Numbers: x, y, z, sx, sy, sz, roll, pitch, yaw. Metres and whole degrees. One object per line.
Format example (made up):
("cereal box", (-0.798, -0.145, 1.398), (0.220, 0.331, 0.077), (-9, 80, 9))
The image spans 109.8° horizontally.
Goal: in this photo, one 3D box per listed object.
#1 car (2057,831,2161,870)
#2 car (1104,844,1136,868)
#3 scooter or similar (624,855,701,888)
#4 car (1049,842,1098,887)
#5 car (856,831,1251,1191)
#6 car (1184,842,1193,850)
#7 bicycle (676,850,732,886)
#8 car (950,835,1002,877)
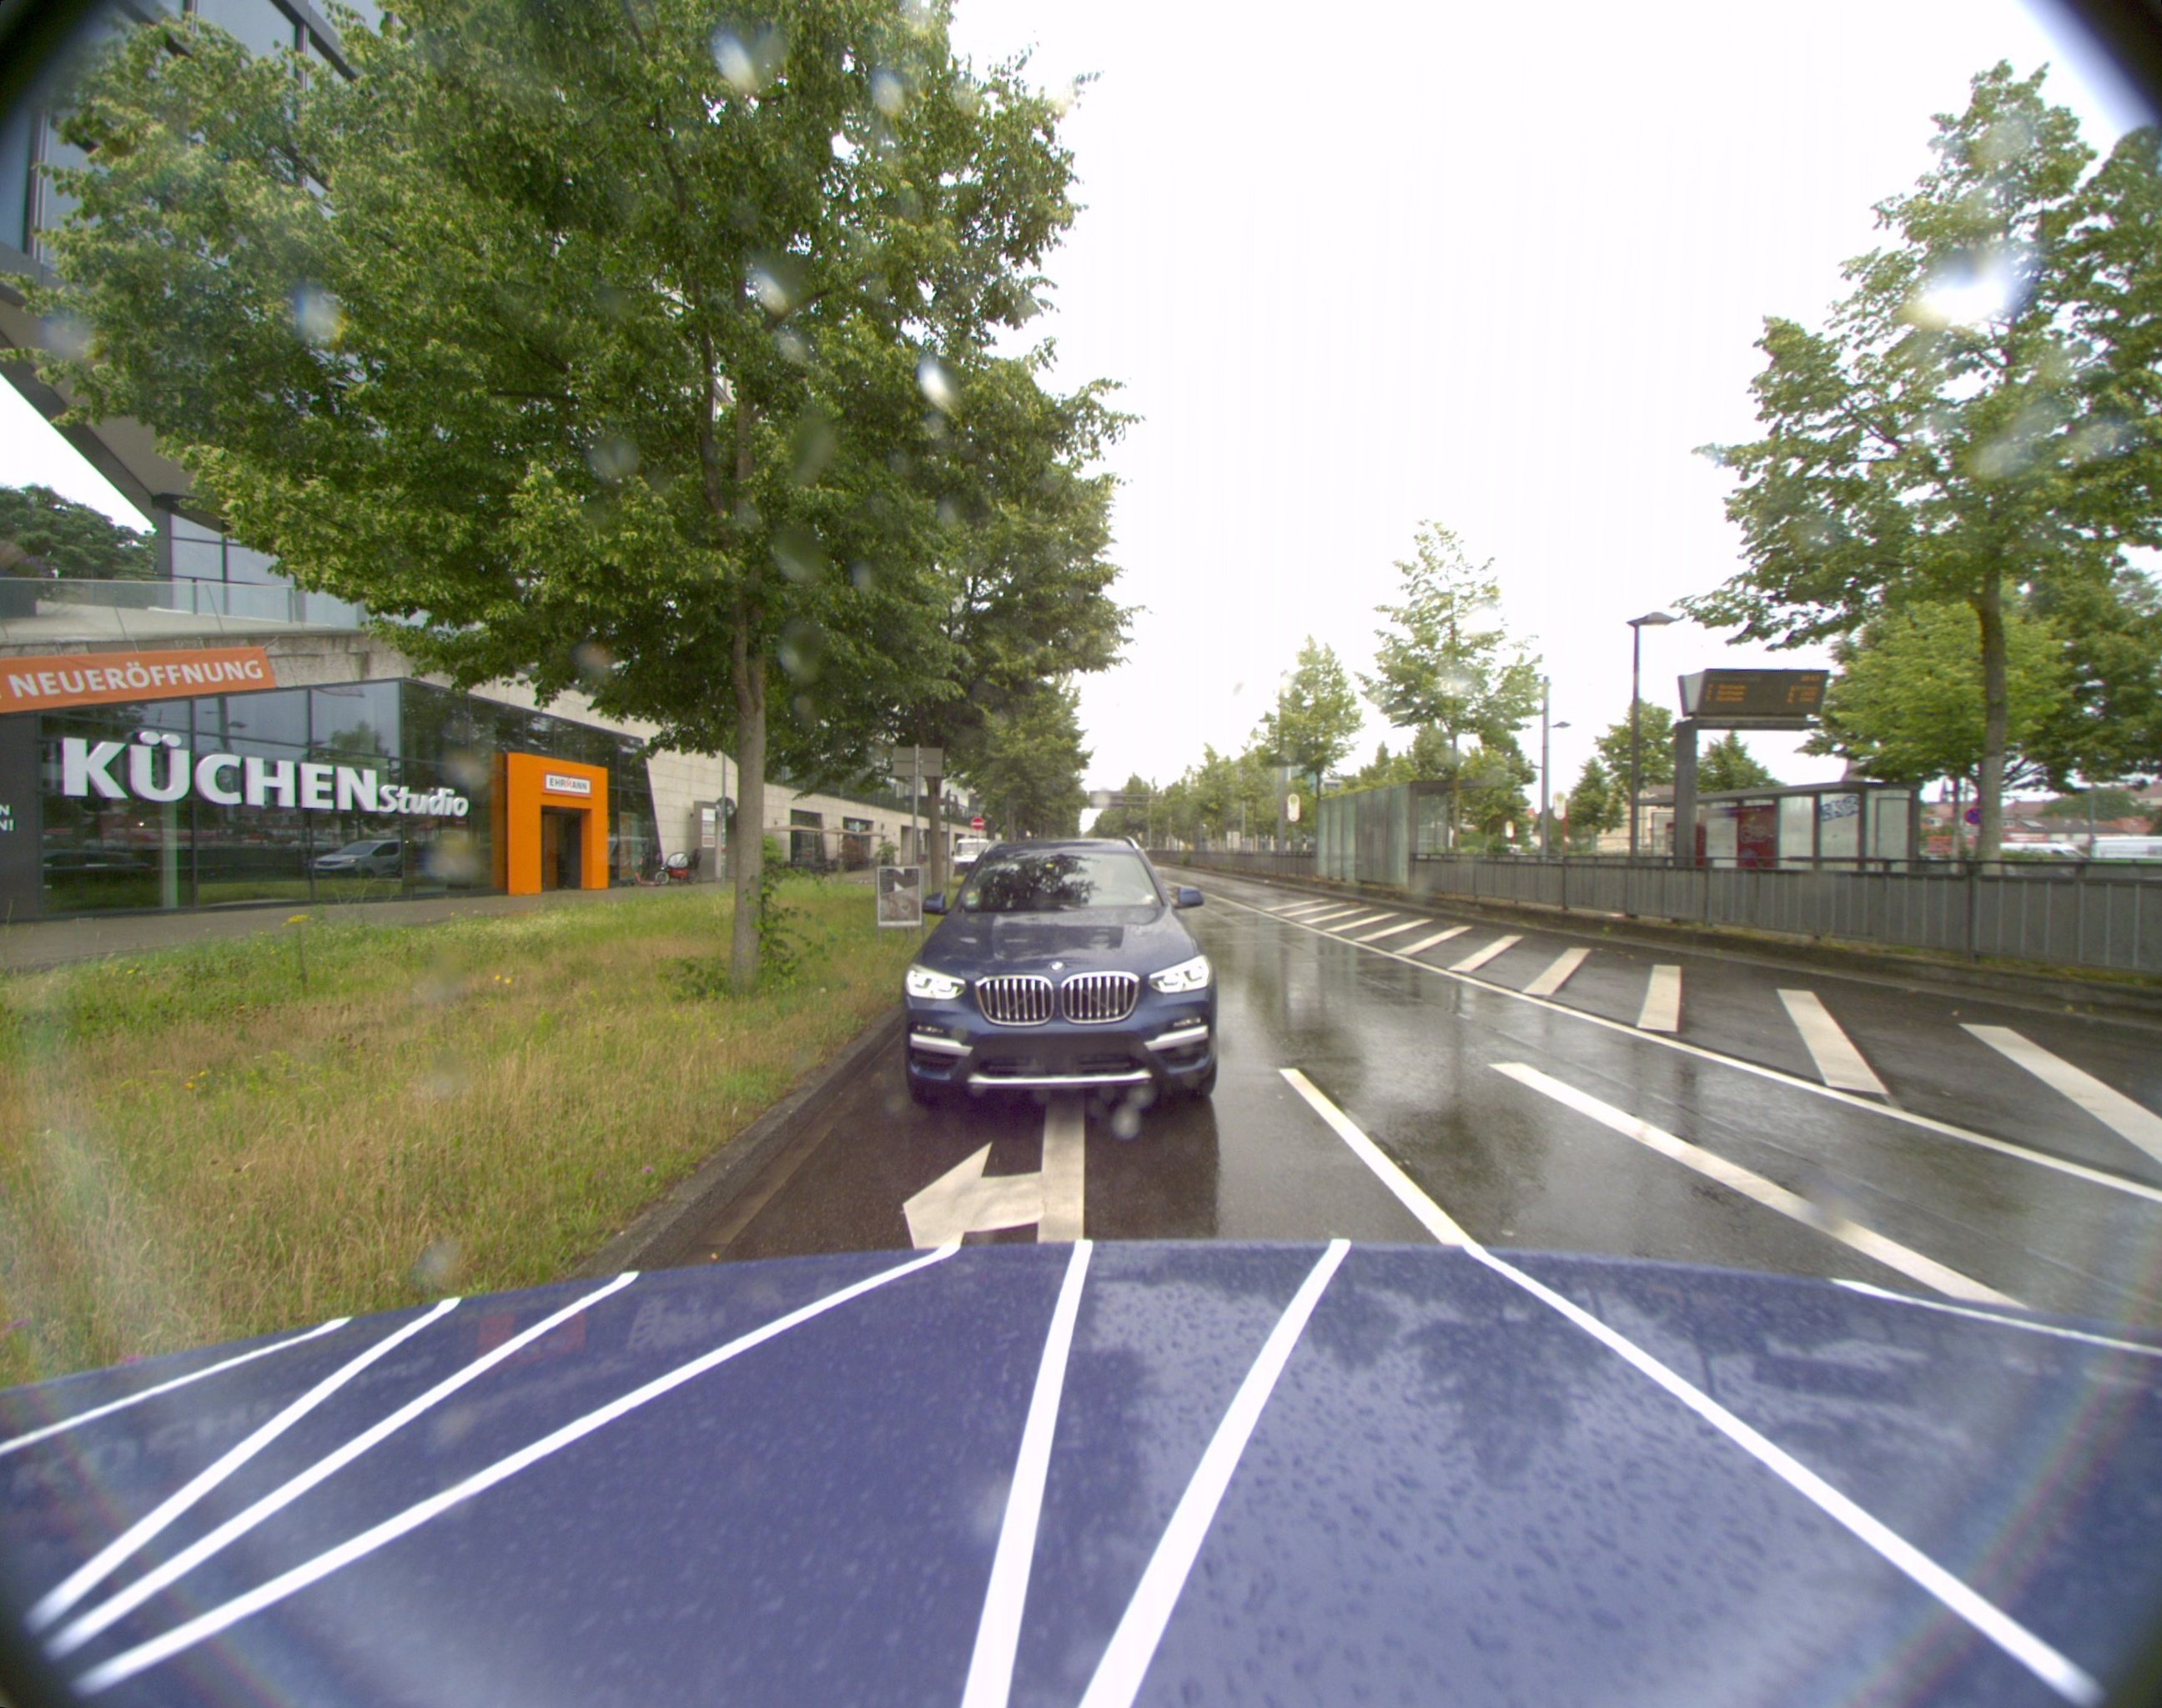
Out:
("car", (70.182, -0.241, 49.791), (2.356, 2.462, 7.636), (-2, 1, -3))
("car", (2.620, 0.114, 52.069), (1.788, 1.509, 4.331), (-2, 1, -2))
("scooter or similar", (-15.547, 0.632, 28.324), (0.810, 1.093, 2.617), (-2, 1, 18))
("car", (-0.257, 0.364, 30.325), (1.788, 1.638, 3.999), (-2, 1, 1))
("car", (-0.108, 0.820, 5.996), (1.916, 1.736, 4.384), (-2, -1, 1))
("car", (27.524, -2.057, 194.560), (1.998, 2.002, 4.000), (-2, 1, 2))
("bicycle", (-15.411, 0.538, 31.161), (0.882, 1.339, 2.696), (-2, 1, 1))
("car", (-5.929, 0.057, 43.447), (2.084, 2.189, 5.097), (-2, 1, 1))
